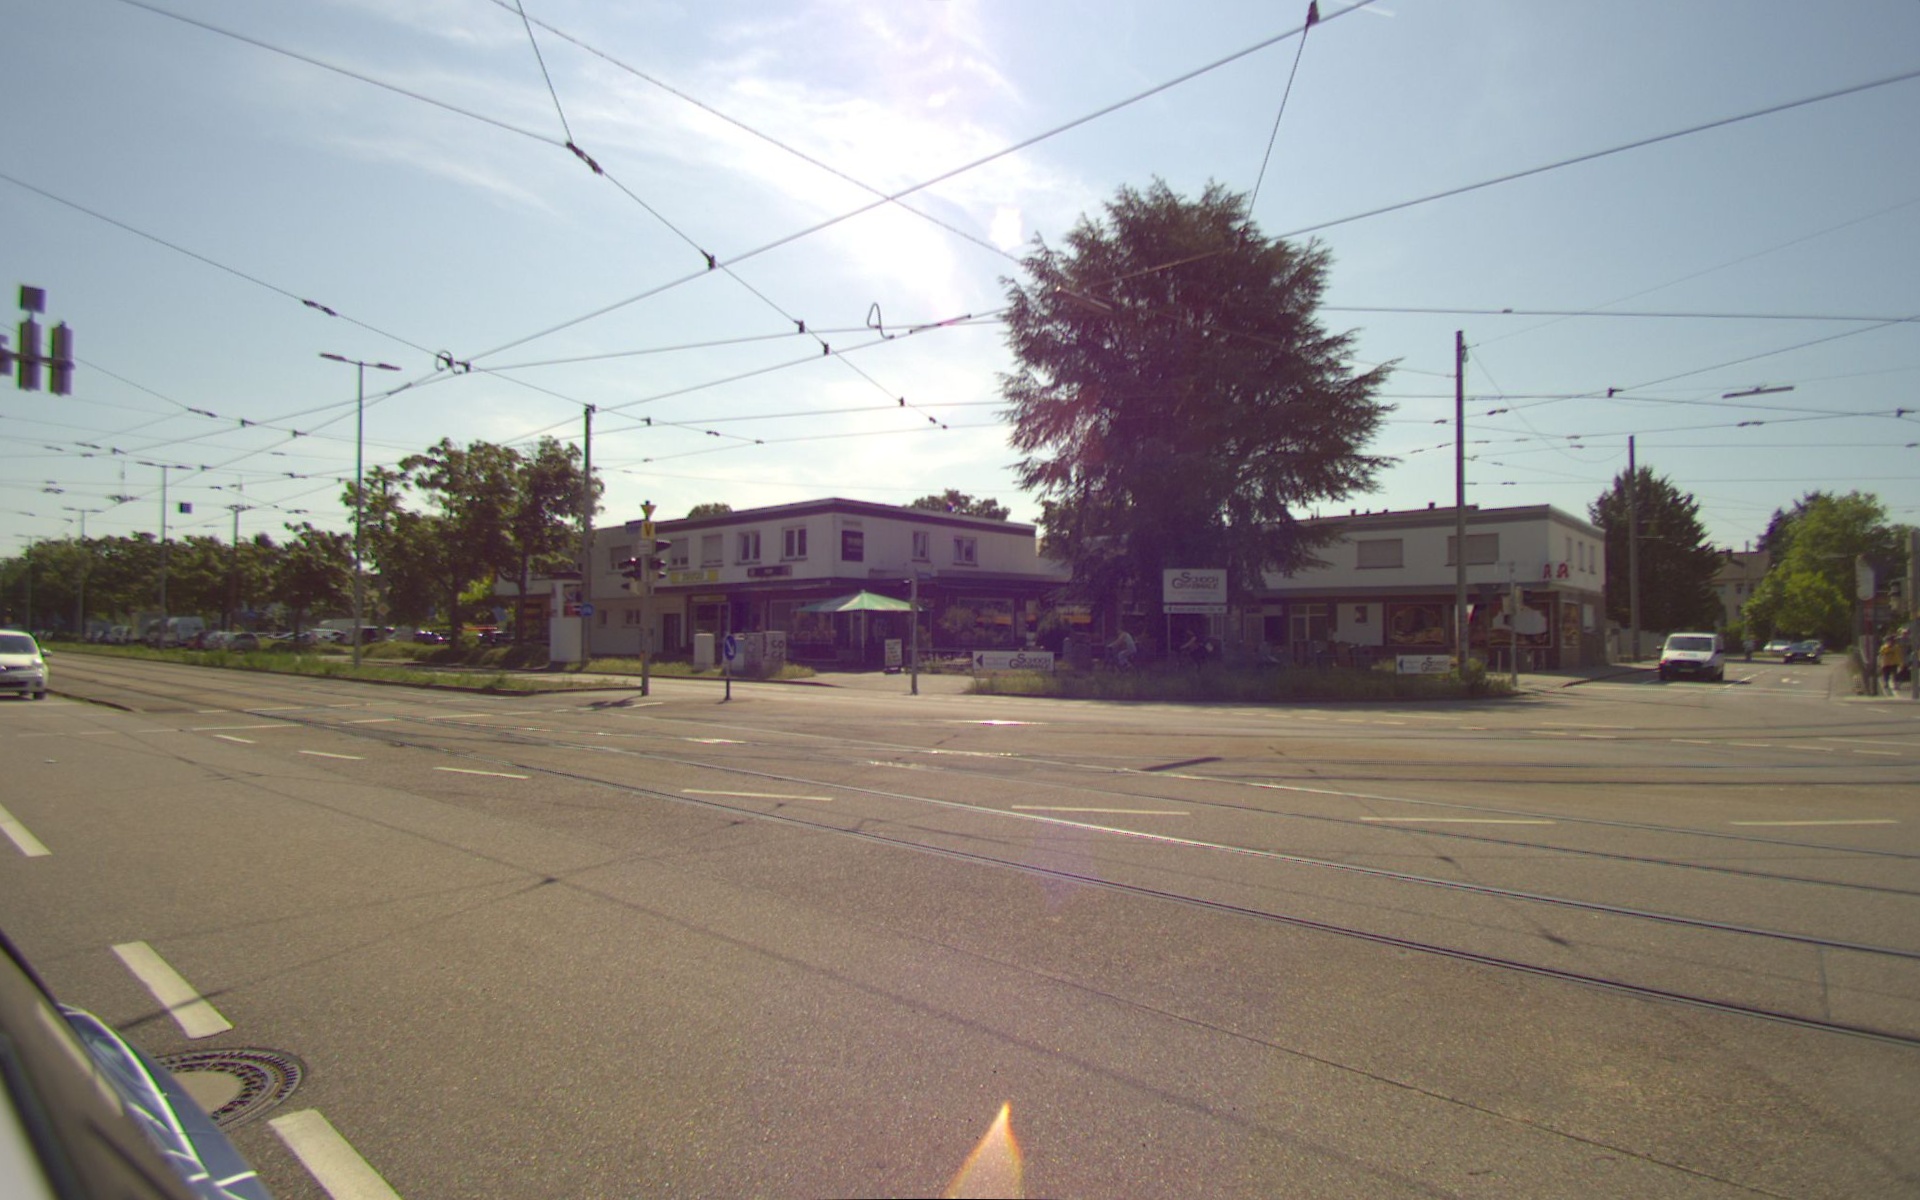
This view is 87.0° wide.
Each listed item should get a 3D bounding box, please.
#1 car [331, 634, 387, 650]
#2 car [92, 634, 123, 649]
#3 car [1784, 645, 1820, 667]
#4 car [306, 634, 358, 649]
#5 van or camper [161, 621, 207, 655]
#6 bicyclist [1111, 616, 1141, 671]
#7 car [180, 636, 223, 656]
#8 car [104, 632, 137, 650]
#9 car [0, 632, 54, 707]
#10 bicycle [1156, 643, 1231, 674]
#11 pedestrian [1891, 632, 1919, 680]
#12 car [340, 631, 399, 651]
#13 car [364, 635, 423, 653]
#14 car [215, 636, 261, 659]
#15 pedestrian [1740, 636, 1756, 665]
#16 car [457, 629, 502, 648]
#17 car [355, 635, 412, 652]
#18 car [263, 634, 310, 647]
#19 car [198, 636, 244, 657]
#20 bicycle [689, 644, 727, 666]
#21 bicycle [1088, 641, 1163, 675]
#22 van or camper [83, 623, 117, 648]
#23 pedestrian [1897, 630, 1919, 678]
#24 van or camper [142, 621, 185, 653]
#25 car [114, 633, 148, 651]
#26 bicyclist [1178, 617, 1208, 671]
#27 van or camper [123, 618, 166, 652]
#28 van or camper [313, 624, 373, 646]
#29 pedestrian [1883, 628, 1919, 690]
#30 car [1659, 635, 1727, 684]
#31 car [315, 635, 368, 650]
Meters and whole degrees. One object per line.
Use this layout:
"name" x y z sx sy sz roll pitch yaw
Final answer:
"car" -49.498 3.430 83.383 1.711 1.294 3.578 -2 -3 40
"car" -89.569 4.370 106.332 4.230 1.572 1.868 -2 -3 41
"car" 59.188 3.902 71.132 1.757 1.452 3.944 -2 -3 42
"car" -56.807 3.748 91.583 1.711 1.291 3.578 -2 -3 40
"van or camper" -62.767 3.065 81.818 4.838 2.652 2.013 -2 -3 42
"bicyclist" 4.851 1.261 29.577 0.760 1.570 0.628 0 -3 18
"car" -58.933 3.590 78.602 4.230 1.506 1.868 -2 -3 41
"car" -85.091 4.195 102.567 4.230 1.781 1.868 -2 -3 41
"car" -21.800 1.515 22.668 4.066 1.573 1.747 -2 -4 42
"bicycle" 6.931 1.745 30.138 2.110 0.897 0.575 0 -2 6
"pedestrian" 34.653 2.042 37.032 0.813 1.693 1.079 -2 -3 42
"car" -47.857 3.313 82.030 1.949 1.581 3.701 -2 -3 40
"car" -43.957 3.405 78.567 1.711 1.372 3.578 -2 -3 40
"car" -50.803 3.313 71.184 4.285 1.506 1.867 -2 0 43
"pedestrian" 54.809 3.485 70.389 0.767 1.980 0.851 -2 -3 40
"car" -46.607 3.723 98.221 1.711 1.791 3.578 -2 -3 40
"car" -45.855 3.465 80.564 1.711 1.372 3.578 -2 -3 40
"car" -67.535 4.099 101.494 1.711 1.291 3.578 -2 -3 40
"car" -54.616 3.418 74.773 4.283 1.572 1.868 -2 -3 41
"bicycle" -11.576 2.499 46.481 1.911 0.991 0.750 -2 -3 42
"bicycle" 4.832 1.674 29.551 2.119 0.954 0.532 -1 -3 19
"van or camper" -94.296 3.892 110.929 5.451 2.639 2.086 -1 -4 42
"pedestrian" 32.946 1.847 34.950 0.785 1.639 0.651 -2 -3 42
"van or camper" -68.079 3.185 86.456 4.838 2.652 2.013 -2 -3 42
"car" -80.078 4.031 97.767 4.230 1.748 1.868 -2 -3 41
"bicyclist" 6.932 1.313 30.160 0.756 1.587 0.631 0 -2 3
"van or camper" -73.929 3.150 91.760 5.279 3.008 2.100 -2 -3 42
"van or camper" -77.783 4.410 127.602 2.300 2.751 5.999 -2 -3 44
"pedestrian" 28.943 1.806 31.021 0.896 1.852 1.185 -2 -3 42
"car" 29.731 2.366 41.001 1.776 1.876 4.595 -2 -3 42
"car" -53.549 3.698 87.646 1.811 1.291 3.578 -2 -3 40
